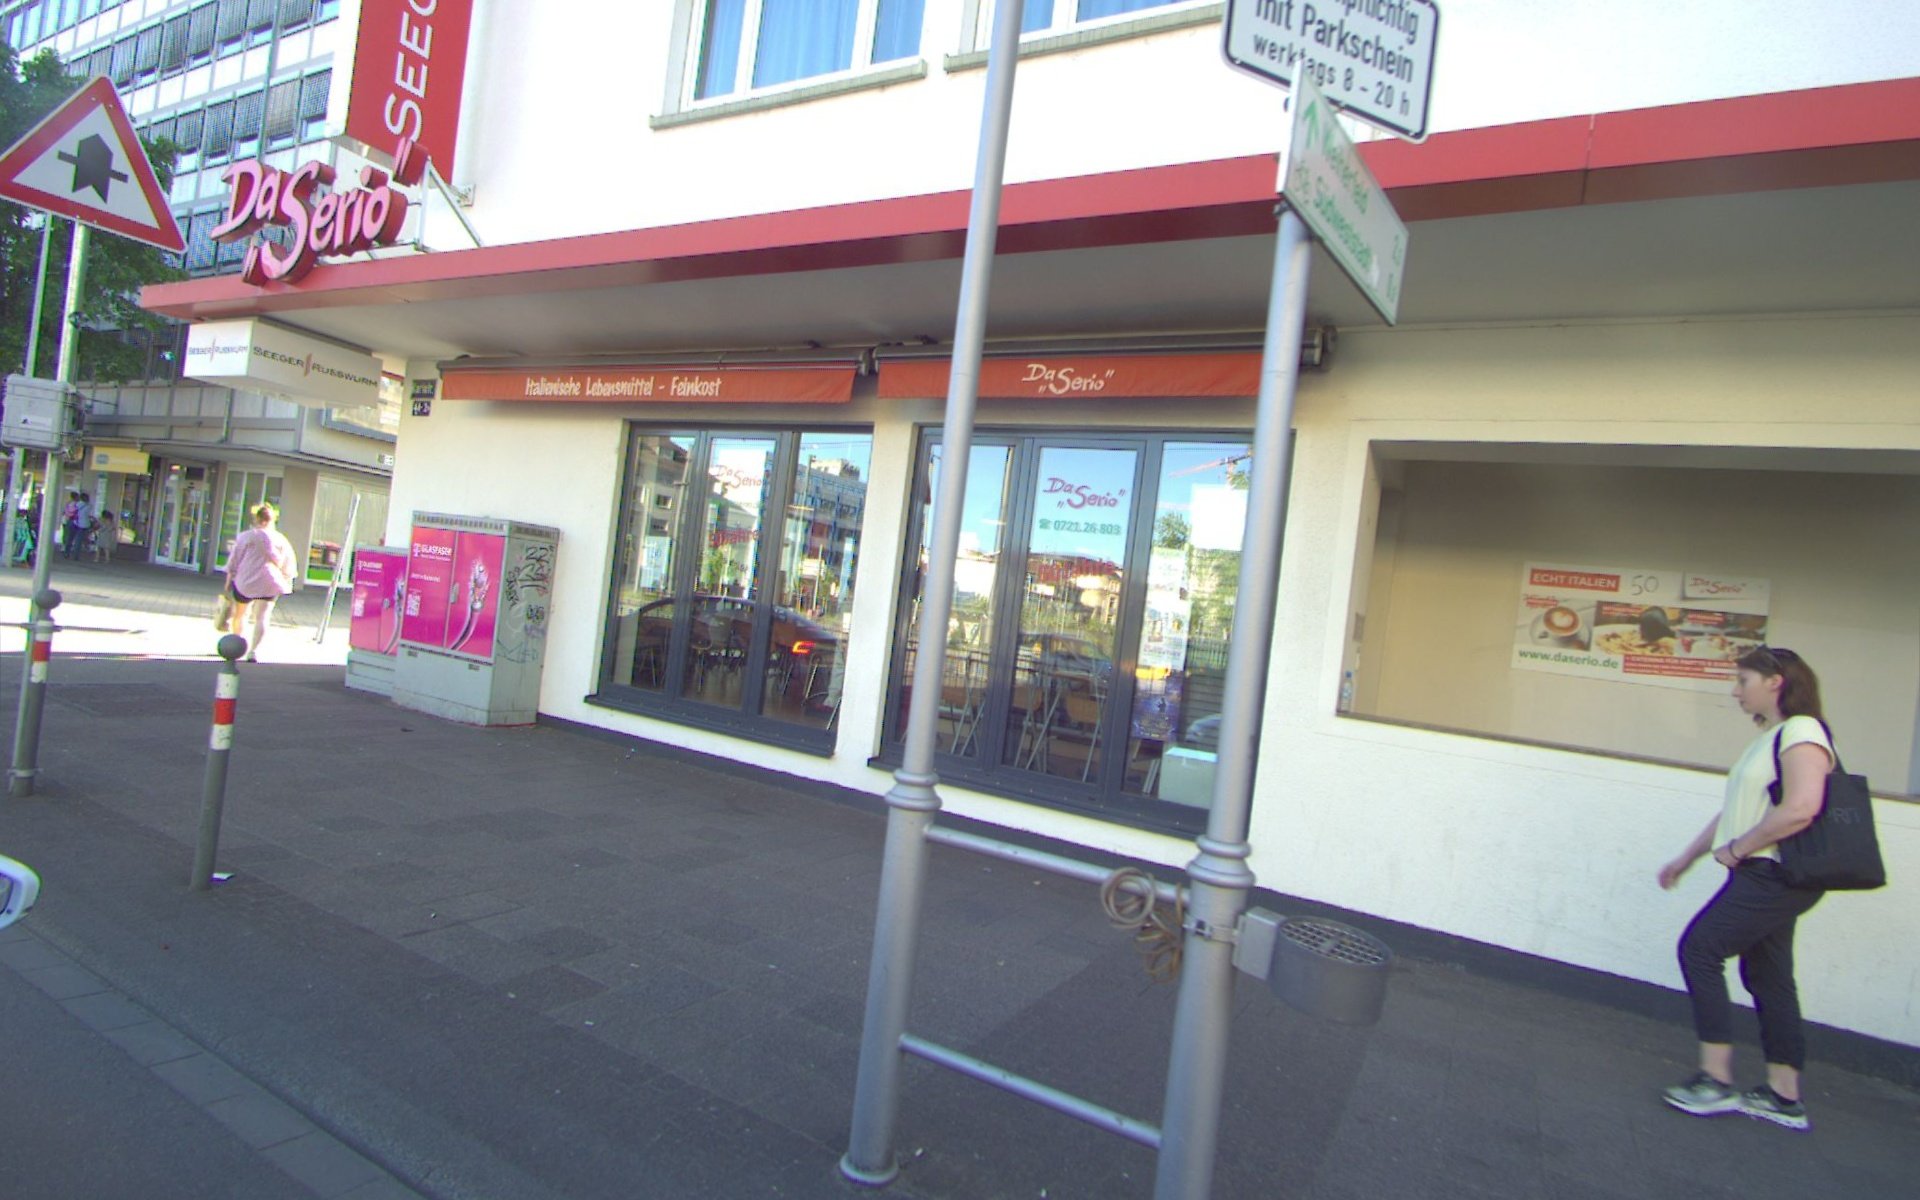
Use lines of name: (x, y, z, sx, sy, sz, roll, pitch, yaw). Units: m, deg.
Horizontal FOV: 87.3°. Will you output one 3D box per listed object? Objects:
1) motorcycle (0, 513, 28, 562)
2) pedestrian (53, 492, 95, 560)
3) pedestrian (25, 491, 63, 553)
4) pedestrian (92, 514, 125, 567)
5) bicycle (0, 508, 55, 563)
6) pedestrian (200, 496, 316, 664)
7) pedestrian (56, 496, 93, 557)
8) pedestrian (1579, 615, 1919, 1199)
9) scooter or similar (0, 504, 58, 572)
motorcycle: (-23.971, -1.650, 24.254, 0.586, 1.140, 1.997, 7, -4, 30)
pedestrian: (-22.904, -1.909, 26.008, 0.458, 1.661, 0.596, 7, 0, 32)
pedestrian: (-25.815, -2.201, 28.351, 0.596, 1.661, 0.531, 7, 0, 32)
pedestrian: (-22.470, -1.569, 26.543, 0.522, 1.296, 0.420, 7, 0, 32)
bicycle: (-22.347, -1.573, 23.189, 0.475, 1.134, 2.056, 7, -2, 31)
pedestrian: (-7.774, -0.208, 11.149, 0.813, 1.701, 0.707, 10, -3, -37)
pedestrian: (-25.594, -2.130, 29.074, 0.584, 1.661, 0.531, 7, 0, 32)
pedestrian: (3.016, 1.028, 3.828, 0.918, 1.796, 0.804, 7, 0, 35)
scooter or similar: (-20.495, -1.360, 21.651, 0.683, 1.332, 1.415, 6, -2, 5)
